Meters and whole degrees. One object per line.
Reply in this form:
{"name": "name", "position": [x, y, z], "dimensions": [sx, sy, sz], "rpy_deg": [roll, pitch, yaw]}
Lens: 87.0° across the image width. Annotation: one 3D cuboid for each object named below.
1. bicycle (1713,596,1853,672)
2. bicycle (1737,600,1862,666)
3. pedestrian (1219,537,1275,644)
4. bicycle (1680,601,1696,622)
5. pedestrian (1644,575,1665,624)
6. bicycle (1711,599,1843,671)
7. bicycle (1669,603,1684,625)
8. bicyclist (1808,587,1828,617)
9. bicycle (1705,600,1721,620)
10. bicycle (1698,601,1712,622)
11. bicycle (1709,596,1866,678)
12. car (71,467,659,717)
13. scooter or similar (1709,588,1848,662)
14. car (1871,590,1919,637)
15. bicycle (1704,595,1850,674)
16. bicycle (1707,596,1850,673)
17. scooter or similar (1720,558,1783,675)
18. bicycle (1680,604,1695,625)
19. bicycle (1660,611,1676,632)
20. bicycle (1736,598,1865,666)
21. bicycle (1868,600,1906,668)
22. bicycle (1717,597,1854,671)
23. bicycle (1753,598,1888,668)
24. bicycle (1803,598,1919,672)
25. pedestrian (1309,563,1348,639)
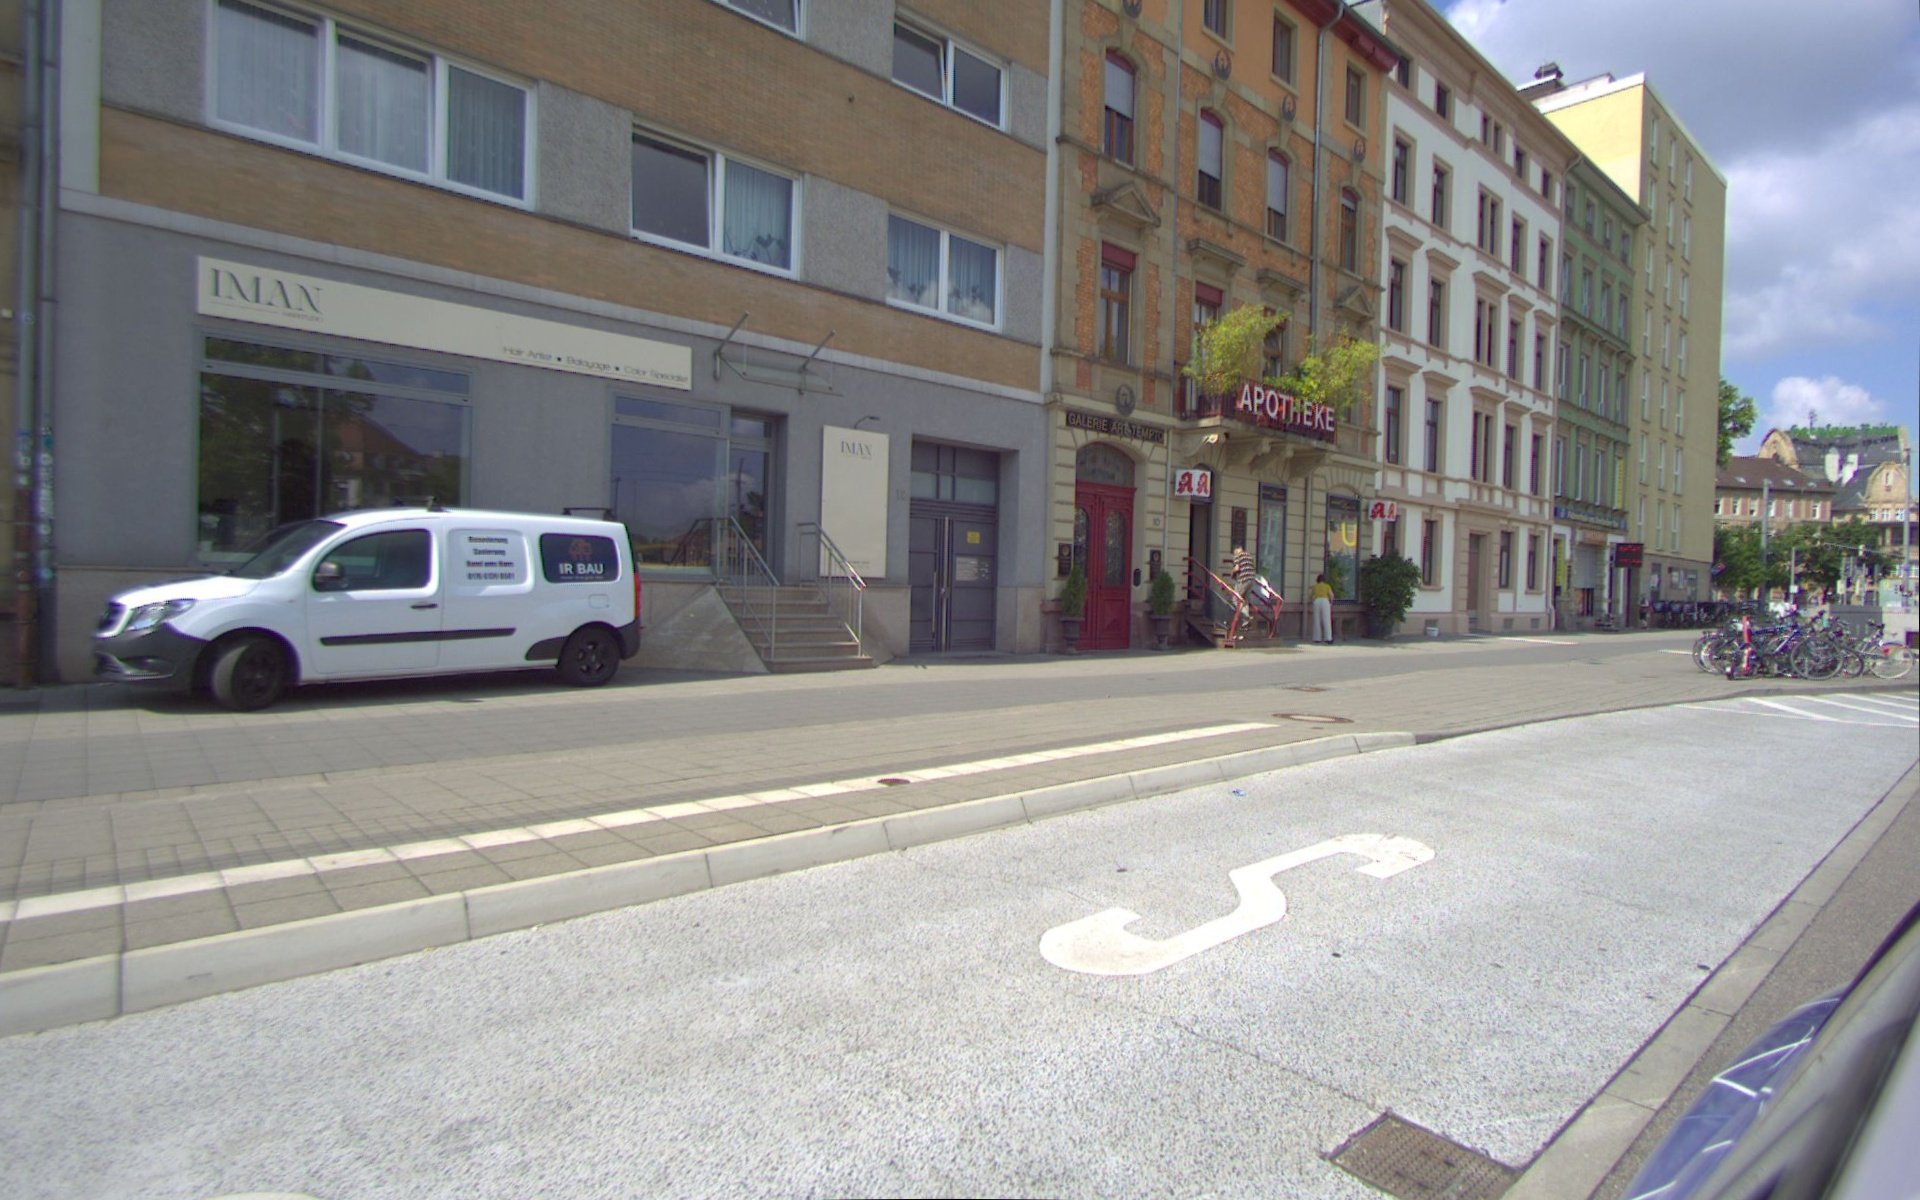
{"name": "bicycle", "position": [14.898, 0.593, 18.378], "dimensions": [1.921, 1.253, 0.435], "rpy_deg": [2, -1, 39]}
{"name": "bicycle", "position": [17.329, 0.660, 20.934], "dimensions": [0.433, 1.253, 1.929], "rpy_deg": [4, -1, -39]}
{"name": "pedestrian", "position": [5.854, -0.186, 20.649], "dimensions": [0.772, 2.126, 0.722], "rpy_deg": [4, -1, -41]}
{"name": "bicycle", "position": [33.954, 0.548, 47.200], "dimensions": [1.438, 0.934, 0.293], "rpy_deg": [4, -1, -41]}
{"name": "pedestrian", "position": [29.590, -0.024, 43.105], "dimensions": [0.452, 2.039, 0.602], "rpy_deg": [4, -1, -41]}
{"name": "bicycle", "position": [15.766, 0.658, 19.584], "dimensions": [1.919, 1.253, 0.435], "rpy_deg": [2, -1, 36]}
{"name": "bicycle", "position": [32.095, 0.615, 45.315], "dimensions": [1.440, 0.934, 0.292], "rpy_deg": [3, -1, -44]}
{"name": "bicyclist", "position": [42.874, 0.094, 50.568], "dimensions": [0.730, 1.455, 0.655], "rpy_deg": [1, 1, -41]}
{"name": "bicycle", "position": [35.495, 0.456, 47.676], "dimensions": [1.439, 0.934, 0.293], "rpy_deg": [1, 1, -41]}
{"name": "bicycle", "position": [34.171, 0.545, 46.419], "dimensions": [1.440, 0.934, 0.292], "rpy_deg": [3, -1, -44]}
{"name": "bicycle", "position": [13.813, 0.598, 16.965], "dimensions": [1.975, 1.253, 0.435], "rpy_deg": [2, -1, 38]}
{"name": "car", "position": [-5.609, -0.109, 10.047], "dimensions": [1.993, 1.885, 4.679], "rpy_deg": [2, 2, 43]}
{"name": "scooter or similar", "position": [18.501, 0.535, 22.933], "dimensions": [0.684, 1.565, 2.332], "rpy_deg": [4, -1, -35]}
{"name": "car", "position": [36.555, 0.534, 36.922], "dimensions": [4.517, 1.667, 2.058], "rpy_deg": [2, 1, 7]}
{"name": "bicycle", "position": [14.148, 0.581, 17.575], "dimensions": [1.923, 1.253, 0.434], "rpy_deg": [2, -1, 41]}
{"name": "bicycle", "position": [14.496, 0.592, 17.975], "dimensions": [1.924, 1.253, 0.434], "rpy_deg": [2, -1, 44]}
{"name": "scooter or similar", "position": [12.729, 0.259, 16.270], "dimensions": [1.509, 1.809, 0.398], "rpy_deg": [1, 1, -38]}
{"name": "bicycle", "position": [32.246, 0.651, 44.838], "dimensions": [1.440, 0.934, 0.292], "rpy_deg": [2, 0, -44]}
{"name": "bicycle", "position": [31.868, 0.971, 45.549], "dimensions": [1.440, 0.934, 0.292], "rpy_deg": [2, 0, -44]}
{"name": "bicycle", "position": [16.908, 0.628, 20.404], "dimensions": [0.433, 1.253, 1.929], "rpy_deg": [4, -1, -39]}
{"name": "bicycle", "position": [18.239, 0.680, 19.934], "dimensions": [0.439, 1.253, 1.902], "rpy_deg": [2, -1, 40]}
{"name": "bicycle", "position": [15.260, 0.613, 18.773], "dimensions": [1.921, 1.253, 0.435], "rpy_deg": [2, -1, 39]}
{"name": "bicycle", "position": [16.746, 0.619, 19.744], "dimensions": [0.433, 1.253, 1.929], "rpy_deg": [4, -1, -39]}
{"name": "bicycle", "position": [16.575, 0.628, 18.352], "dimensions": [1.920, 1.253, 0.435], "rpy_deg": [2, -1, 37]}
{"name": "pedestrian", "position": [8.577, 0.024, 23.580], "dimensions": [0.601, 1.720, 0.579], "rpy_deg": [4, -1, -41]}
